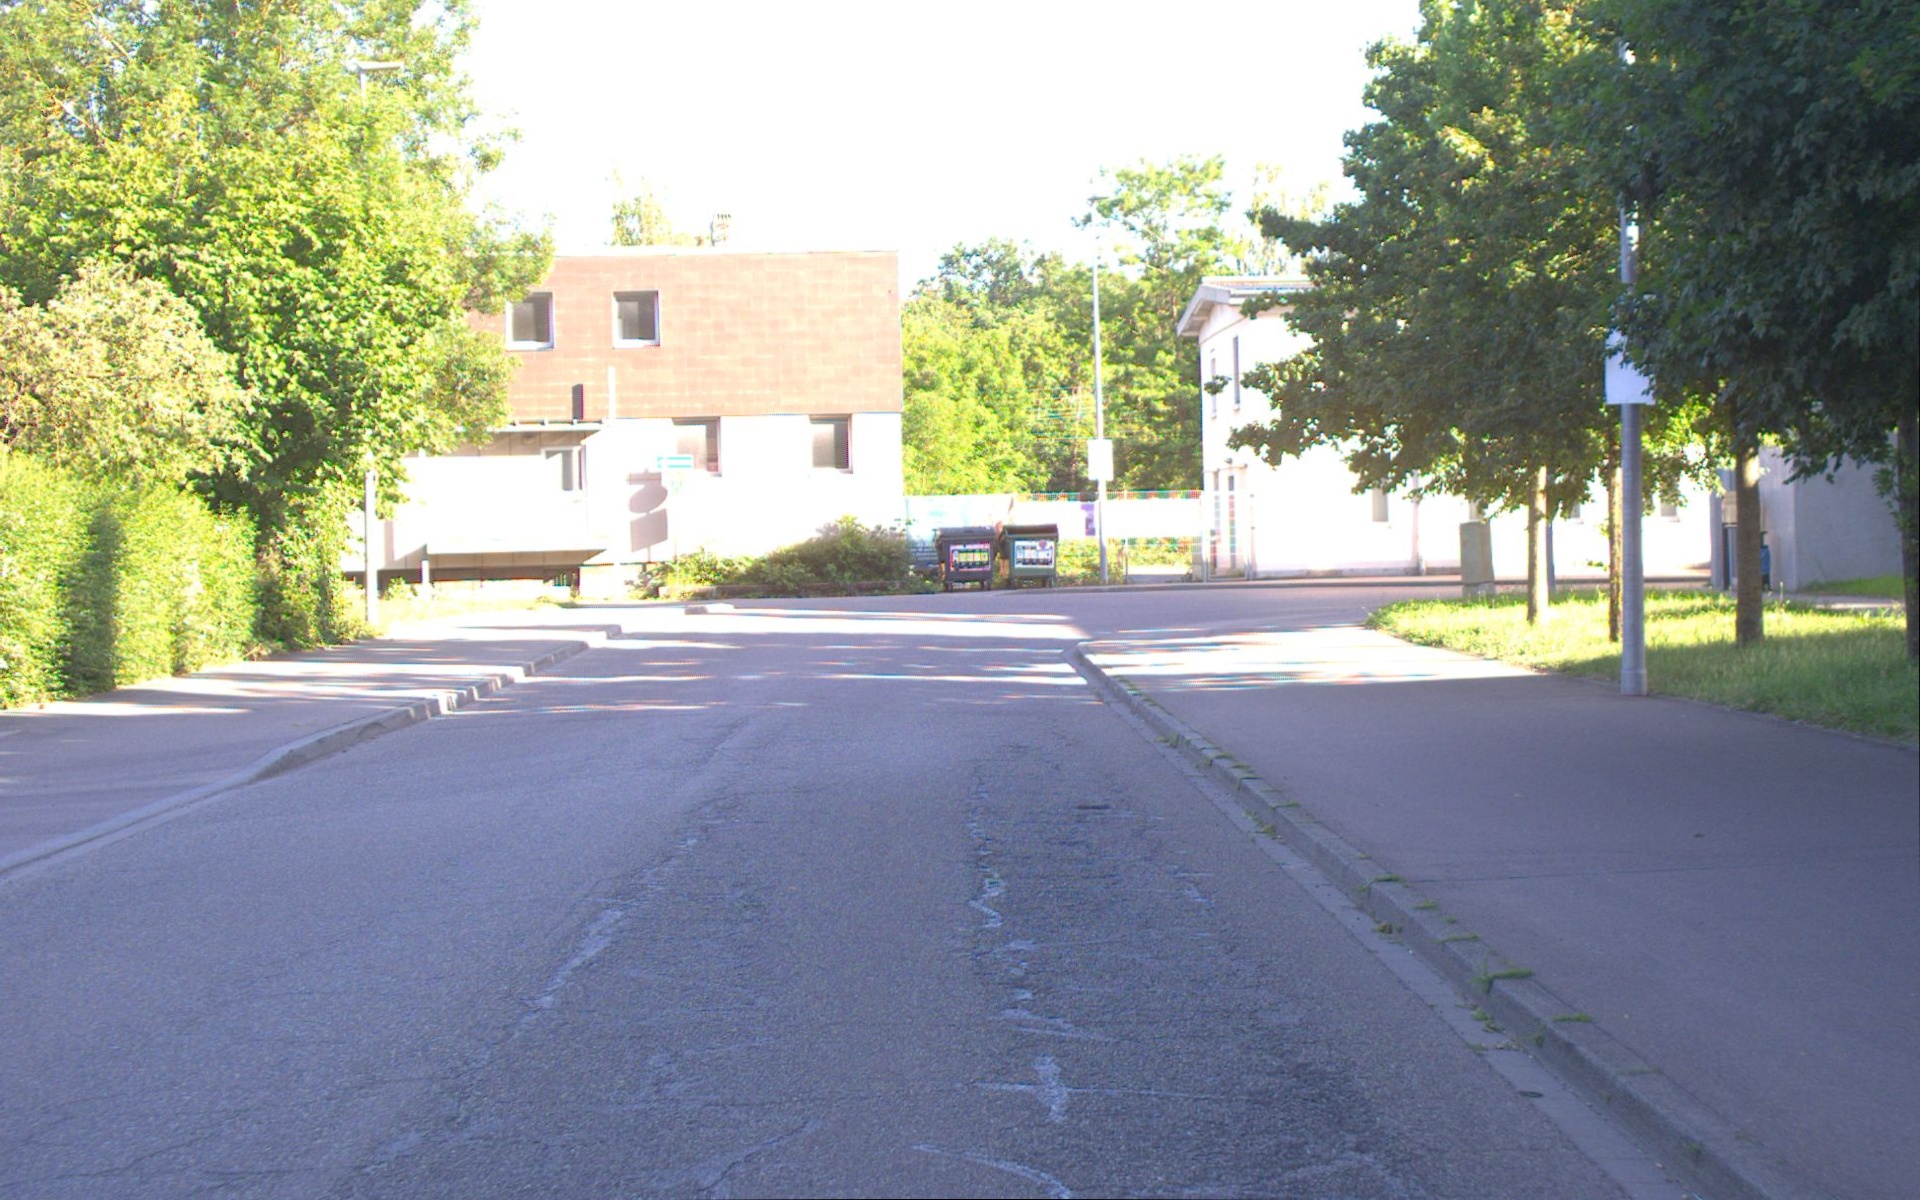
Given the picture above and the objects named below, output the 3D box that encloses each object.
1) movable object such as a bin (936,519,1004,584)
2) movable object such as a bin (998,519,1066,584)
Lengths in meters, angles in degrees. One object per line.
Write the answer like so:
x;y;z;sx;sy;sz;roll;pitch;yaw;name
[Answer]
0.226;-1.080;75.883;1.364;1.413;1.066;0;1;-7;movable object such as a bin
1.596;-1.072;76.224;1.364;1.413;1.066;0;1;-7;movable object such as a bin
